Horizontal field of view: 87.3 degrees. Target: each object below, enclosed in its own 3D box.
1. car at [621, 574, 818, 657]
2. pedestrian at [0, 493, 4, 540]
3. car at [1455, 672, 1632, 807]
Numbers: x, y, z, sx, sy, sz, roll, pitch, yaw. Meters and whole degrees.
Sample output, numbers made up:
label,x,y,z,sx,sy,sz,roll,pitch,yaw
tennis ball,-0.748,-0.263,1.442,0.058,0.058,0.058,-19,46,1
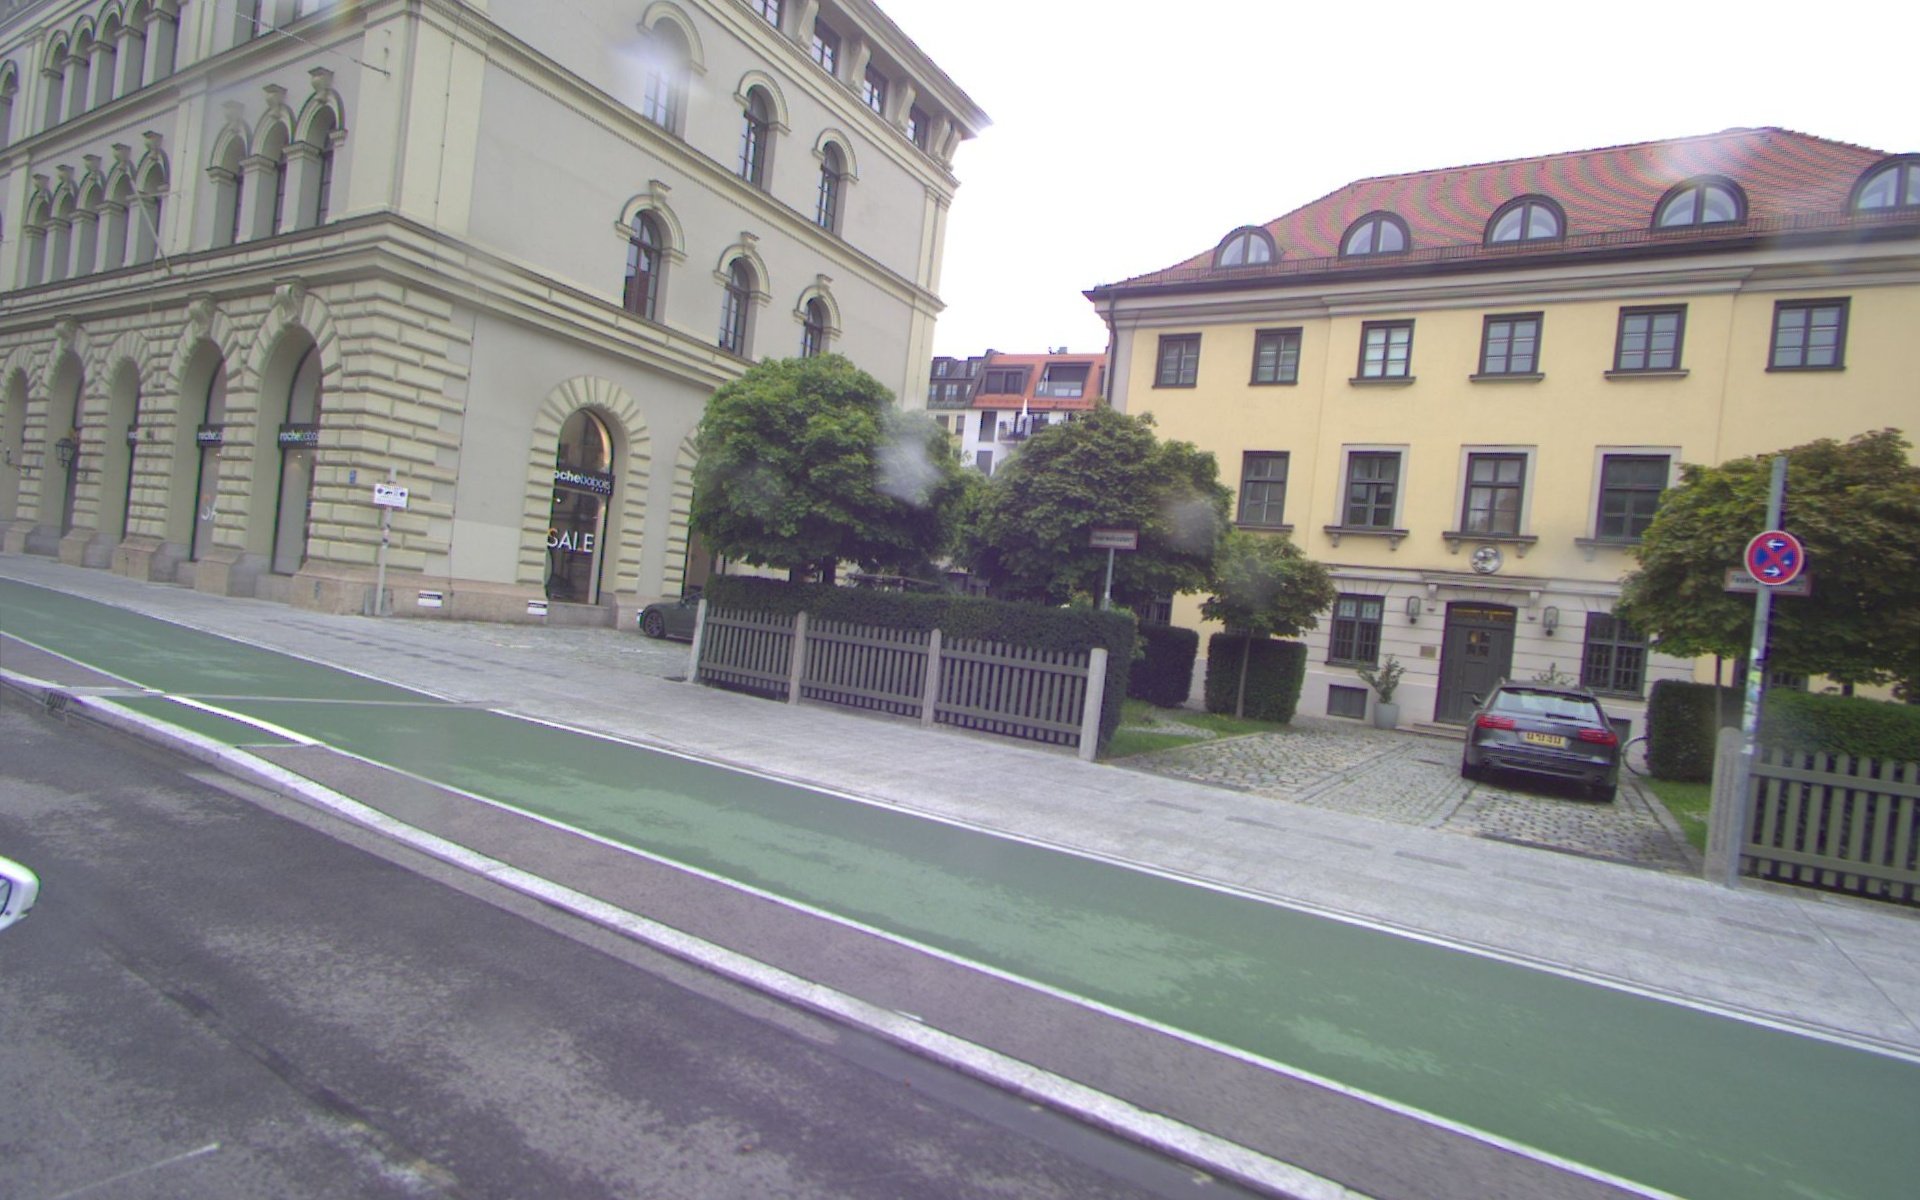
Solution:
label,x,y,z,sx,sy,sz,roll,pitch,yaw
car,-5.866,0.351,24.388,4.553,1.443,1.860,6,-1,32
pedestrian,-26.266,-2.067,26.927,1.068,1.726,0.633,6,1,31
car,8.435,1.917,14.723,1.824,1.434,4.302,6,-1,29
